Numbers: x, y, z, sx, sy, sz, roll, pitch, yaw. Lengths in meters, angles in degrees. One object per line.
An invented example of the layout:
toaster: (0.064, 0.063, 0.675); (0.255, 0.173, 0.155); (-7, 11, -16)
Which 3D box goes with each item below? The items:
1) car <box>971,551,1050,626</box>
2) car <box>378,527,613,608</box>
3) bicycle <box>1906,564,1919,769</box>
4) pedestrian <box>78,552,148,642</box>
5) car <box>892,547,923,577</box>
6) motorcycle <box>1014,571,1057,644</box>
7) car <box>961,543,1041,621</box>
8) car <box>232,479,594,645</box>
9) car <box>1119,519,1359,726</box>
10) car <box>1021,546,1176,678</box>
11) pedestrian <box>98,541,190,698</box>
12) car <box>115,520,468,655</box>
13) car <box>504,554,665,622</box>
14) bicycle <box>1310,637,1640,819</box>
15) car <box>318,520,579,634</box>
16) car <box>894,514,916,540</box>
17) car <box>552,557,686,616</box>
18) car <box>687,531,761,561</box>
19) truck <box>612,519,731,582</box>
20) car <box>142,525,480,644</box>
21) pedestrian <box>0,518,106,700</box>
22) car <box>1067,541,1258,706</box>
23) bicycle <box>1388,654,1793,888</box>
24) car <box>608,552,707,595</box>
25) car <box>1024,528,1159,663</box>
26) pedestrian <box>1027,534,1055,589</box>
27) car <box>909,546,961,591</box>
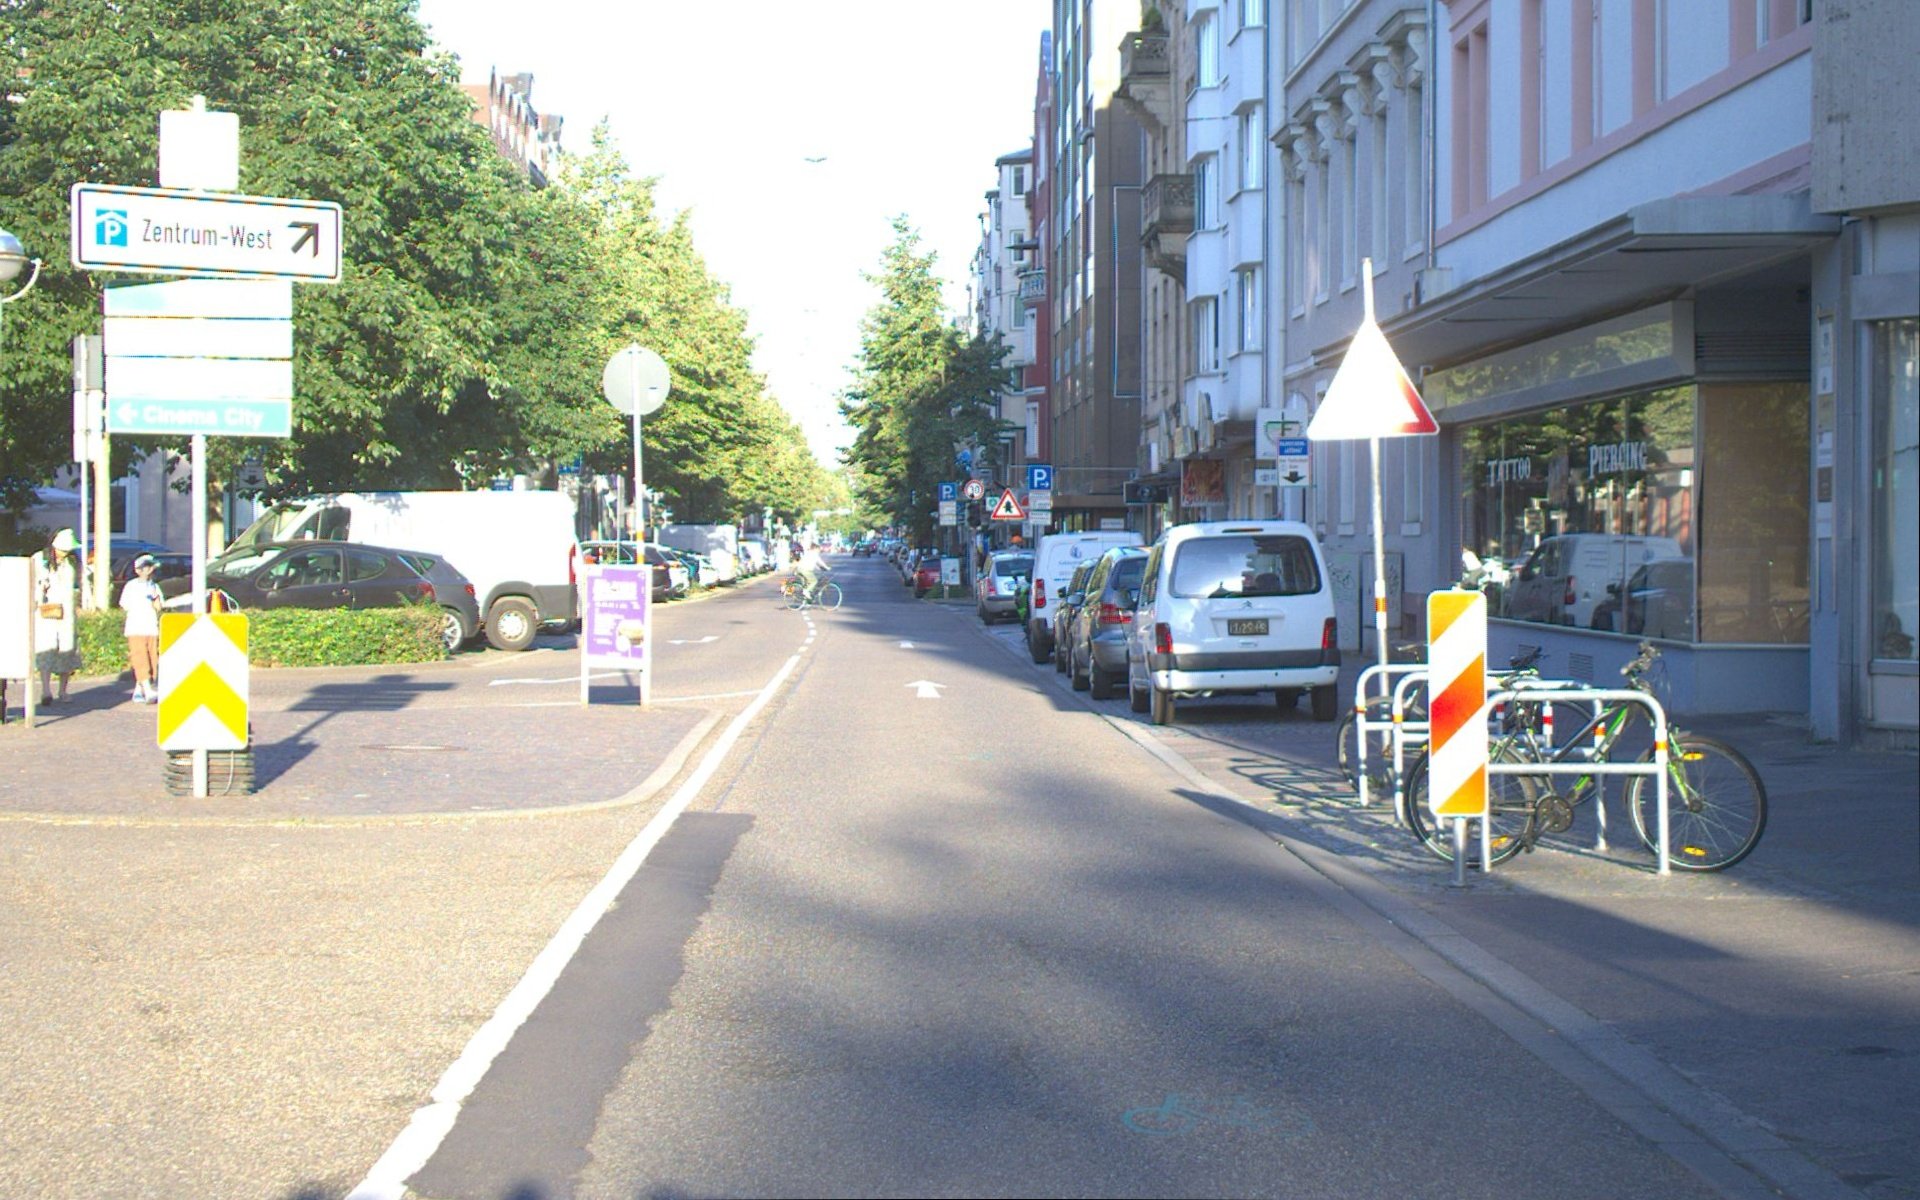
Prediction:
car: (1.122, -0.274, 76.138); (1.680, 1.556, 4.000); (-1, 1, 1)
car: (-8.944, -0.622, 66.219); (3.987, 1.480, 2.000); (0, 1, -30)
bicycle: (6.628, 0.378, 20.908); (0.414, 1.272, 1.663); (-1, -2, -44)
pedestrian: (-12.151, -0.044, 49.309); (0.747, 1.273, 0.661); (0, 1, -38)
car: (-2.374, -1.720, 155.391); (1.206, 1.296, 2.661); (1, 0, -4)
motorcycle: (1.297, 0.122, 59.359); (0.588, 1.196, 2.210); (1, 1, -2)
car: (0.943, -0.453, 81.171); (1.696, 1.763, 4.001); (0, 1, -2)
car: (-7.812, -0.527, 49.140); (4.598, 2.243, 2.203); (1, 1, -28)
car: (2.519, 0.171, 31.907); (1.792, 1.785, 4.092); (0, 1, -1)
car: (1.718, 0.113, 43.683); (1.667, 1.539, 3.883); (1, 1, -2)
pedestrian: (-7.202, 0.167, 30.337); (0.562, 1.359, 0.614); (0, 1, -38)
car: (-8.203, -0.174, 42.342); (3.873, 1.577, 1.802); (0, 2, -41)
car: (-10.799, -0.358, 99.157); (4.448, 1.829, 2.034); (1, 1, -2)
bicycle: (2.994, 0.747, 20.006); (1.789, 0.986, 0.541); (-2, 2, 22)
car: (-8.774, -0.383, 59.075); (3.988, 1.872, 1.871); (0, 1, -37)
car: (-3.608, -4.779, 225.384); (1.308, 1.594, 2.661); (1, 0, -4)
car: (-10.543, -0.431, 106.390); (3.989, 1.702, 1.833); (1, 1, -2)
car: (-12.257, -2.796, 178.458); (3.739, 1.487, 2.000); (1, 1, -2)
truck: (-12.186, -2.097, 145.490); (4.940, 2.606, 2.000); (0, 1, -2)
car: (-8.557, -0.206, 45.470); (3.988, 1.481, 1.832); (0, 1, -41)
pedestrian: (-7.932, 0.068, 29.967); (0.697, 1.553, 0.694); (0, 1, -38)
car: (2.150, 0.206, 37.430); (1.656, 1.659, 4.108); (1, 1, -2)
bicycle: (2.926, 0.793, 16.012); (1.788, 0.986, 0.542); (-2, 2, 10)
car: (-11.771, -1.043, 134.006); (3.739, 1.590, 2.000); (1, 1, -2)
car: (1.869, -0.105, 49.930); (1.710, 1.828, 4.306); (1, 1, -1)
pedestrian: (2.491, -1.184, 105.493); (0.765, 1.683, 0.786); (-1, 1, -4)
car: (-0.910, -1.124, 123.037); (1.576, 1.537, 3.397); (-2, 0, -4)
